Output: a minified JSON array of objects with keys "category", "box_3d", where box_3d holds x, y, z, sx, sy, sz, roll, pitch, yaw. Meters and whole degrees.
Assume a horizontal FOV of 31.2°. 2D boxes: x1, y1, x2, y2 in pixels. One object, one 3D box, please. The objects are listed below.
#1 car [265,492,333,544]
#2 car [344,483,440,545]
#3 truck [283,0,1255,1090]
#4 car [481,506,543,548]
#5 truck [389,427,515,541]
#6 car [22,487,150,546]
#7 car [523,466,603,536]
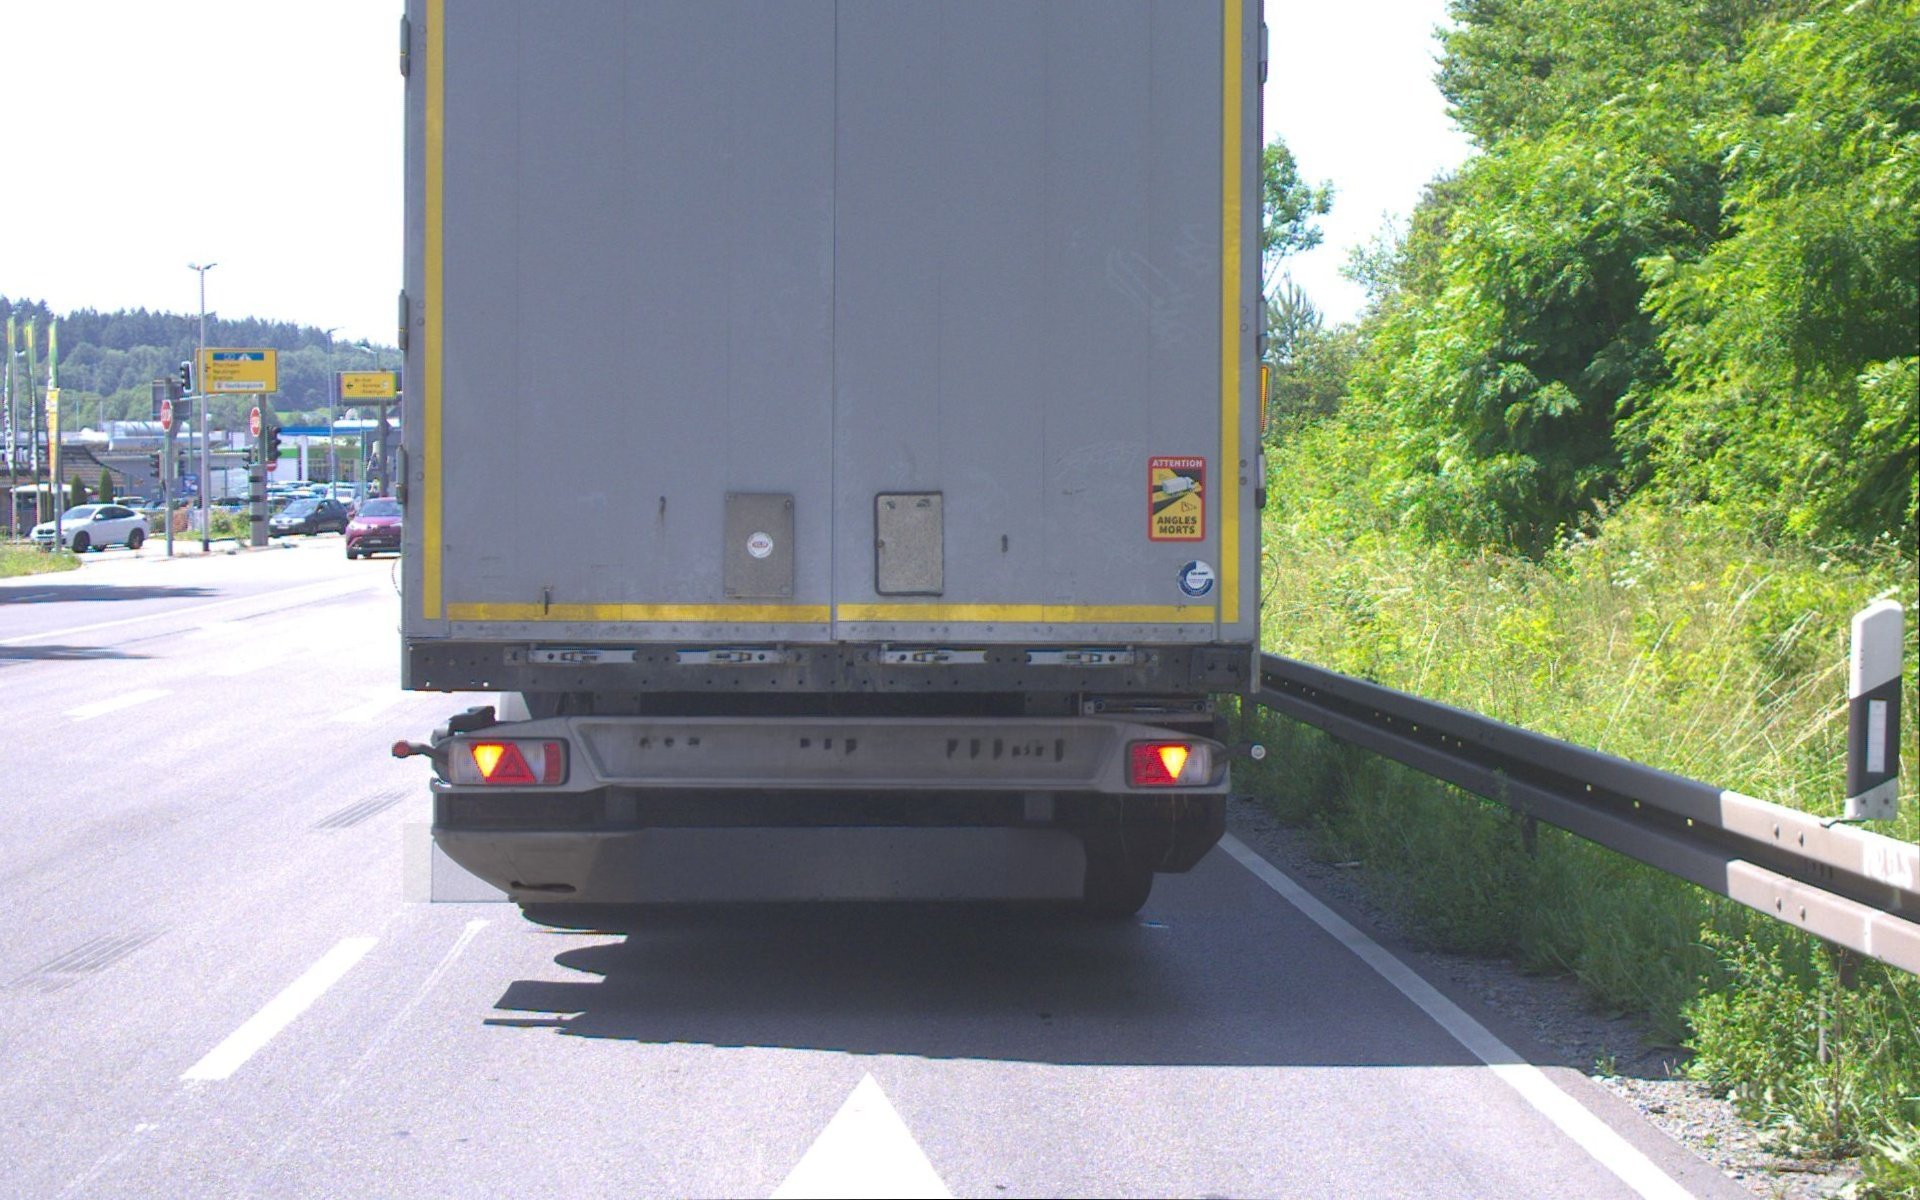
[{"category":"car","box_3d":[-25.532,-3.188,132.921,1.993,2.006,4.001,0,2,-2]},{"category":"car","box_3d":[-14.525,-2.183,88.128,1.903,1.503,3.765,1,1,-1]},{"category":"truck","box_3d":[-0.685,-1.040,18.263,2.755,4.623,16.656,1,1,-1]},{"category":"car","box_3d":[-15.603,-2.538,119.875,1.766,1.381,4.001,1,1,-3]},{"category":"truck","box_3d":[-19.587,-4.458,133.554,2.968,4.162,16.577,0,2,-2]},{"category":"car","box_3d":[-30.300,-2.897,119.282,1.997,2.006,3.992,1,2,34]},{"category":"car","box_3d":[-11.729,-2.927,101.689,1.993,2.007,4.001,1,2,-2]}]
